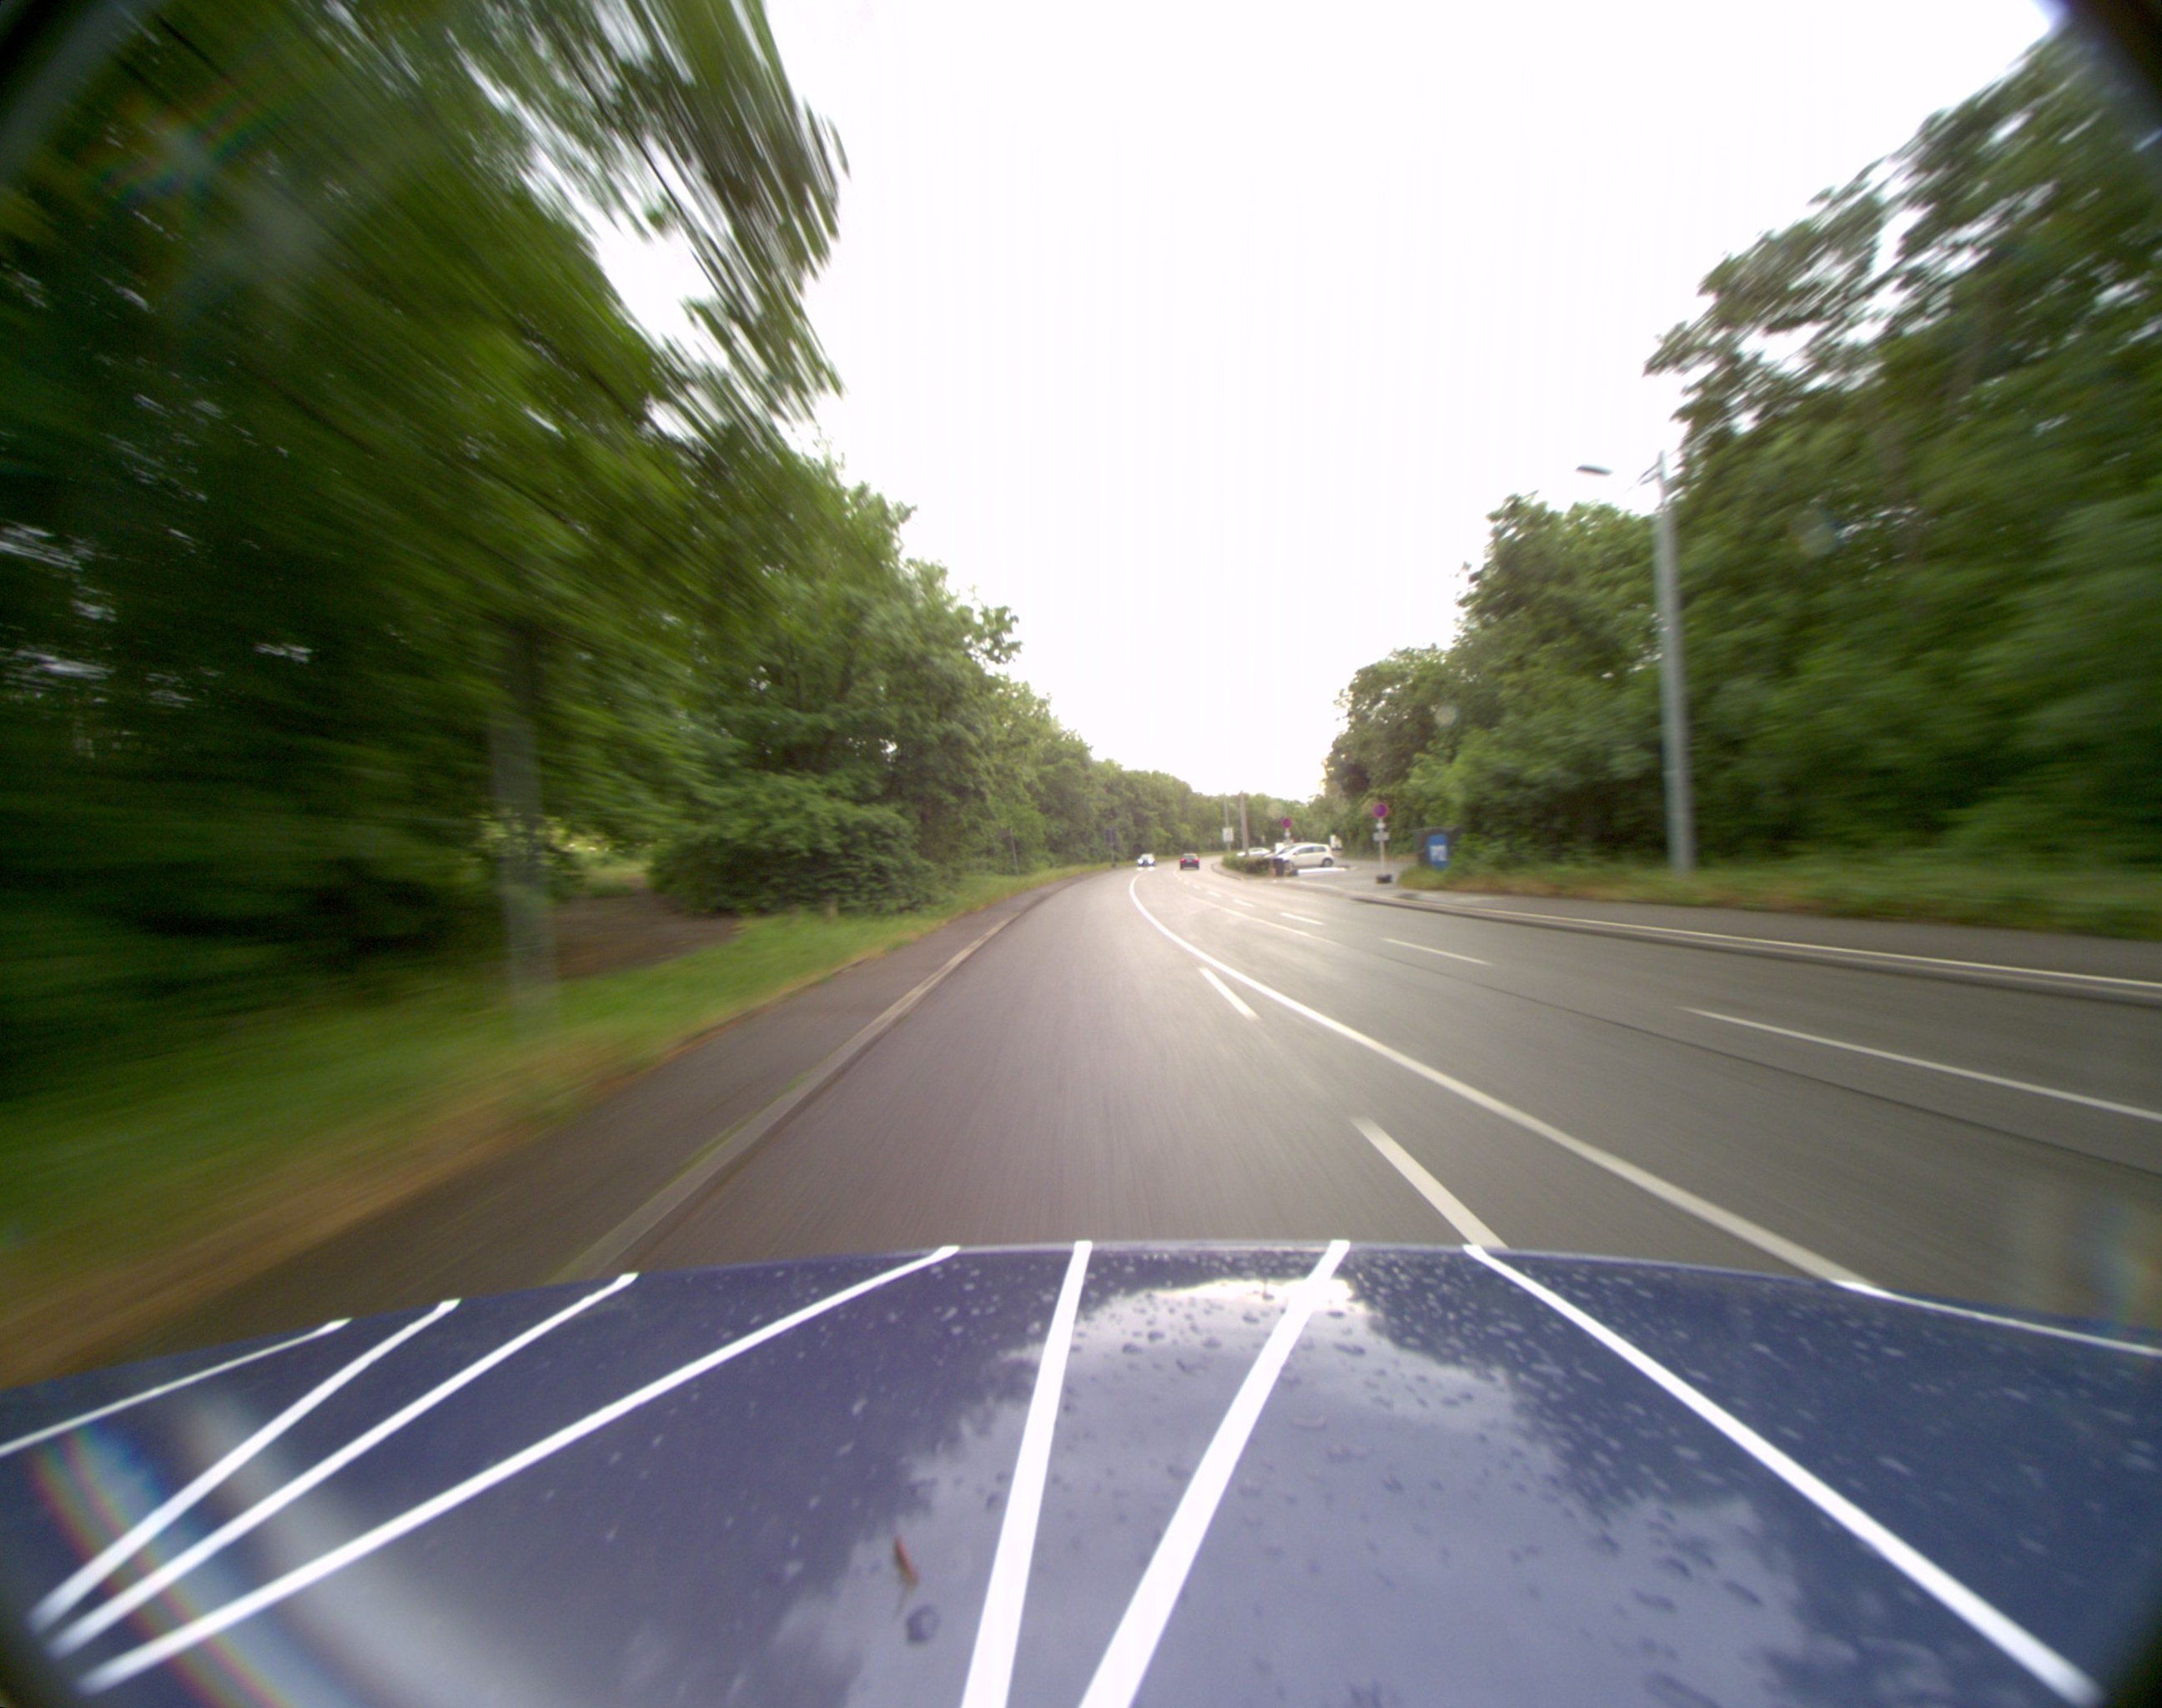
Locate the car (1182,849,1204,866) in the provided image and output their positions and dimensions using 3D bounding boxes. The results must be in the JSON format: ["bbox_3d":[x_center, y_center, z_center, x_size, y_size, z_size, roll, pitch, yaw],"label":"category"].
[{"bbox_3d":[10.528,0.301,71.301,1.855,1.464,3.916,-1,0,12],"label":"car"}]

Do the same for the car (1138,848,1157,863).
[{"bbox_3d":[7.628,0.150,87.199,1.997,1.577,4.001,-2,1,7],"label":"car"}]

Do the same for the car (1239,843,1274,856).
[{"bbox_3d":[22.842,-0.638,98.978,4.206,1.475,1.908,-2,0,5],"label":"car"}]

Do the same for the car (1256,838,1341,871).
[{"bbox_3d":[13.544,0.019,47.610,4.752,1.707,1.895,-4,1,5],"label":"car"}]

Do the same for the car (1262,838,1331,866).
[{"bbox_3d":[15.013,-0.133,53.140,4.379,1.592,1.756,-4,1,7],"label":"car"}]
